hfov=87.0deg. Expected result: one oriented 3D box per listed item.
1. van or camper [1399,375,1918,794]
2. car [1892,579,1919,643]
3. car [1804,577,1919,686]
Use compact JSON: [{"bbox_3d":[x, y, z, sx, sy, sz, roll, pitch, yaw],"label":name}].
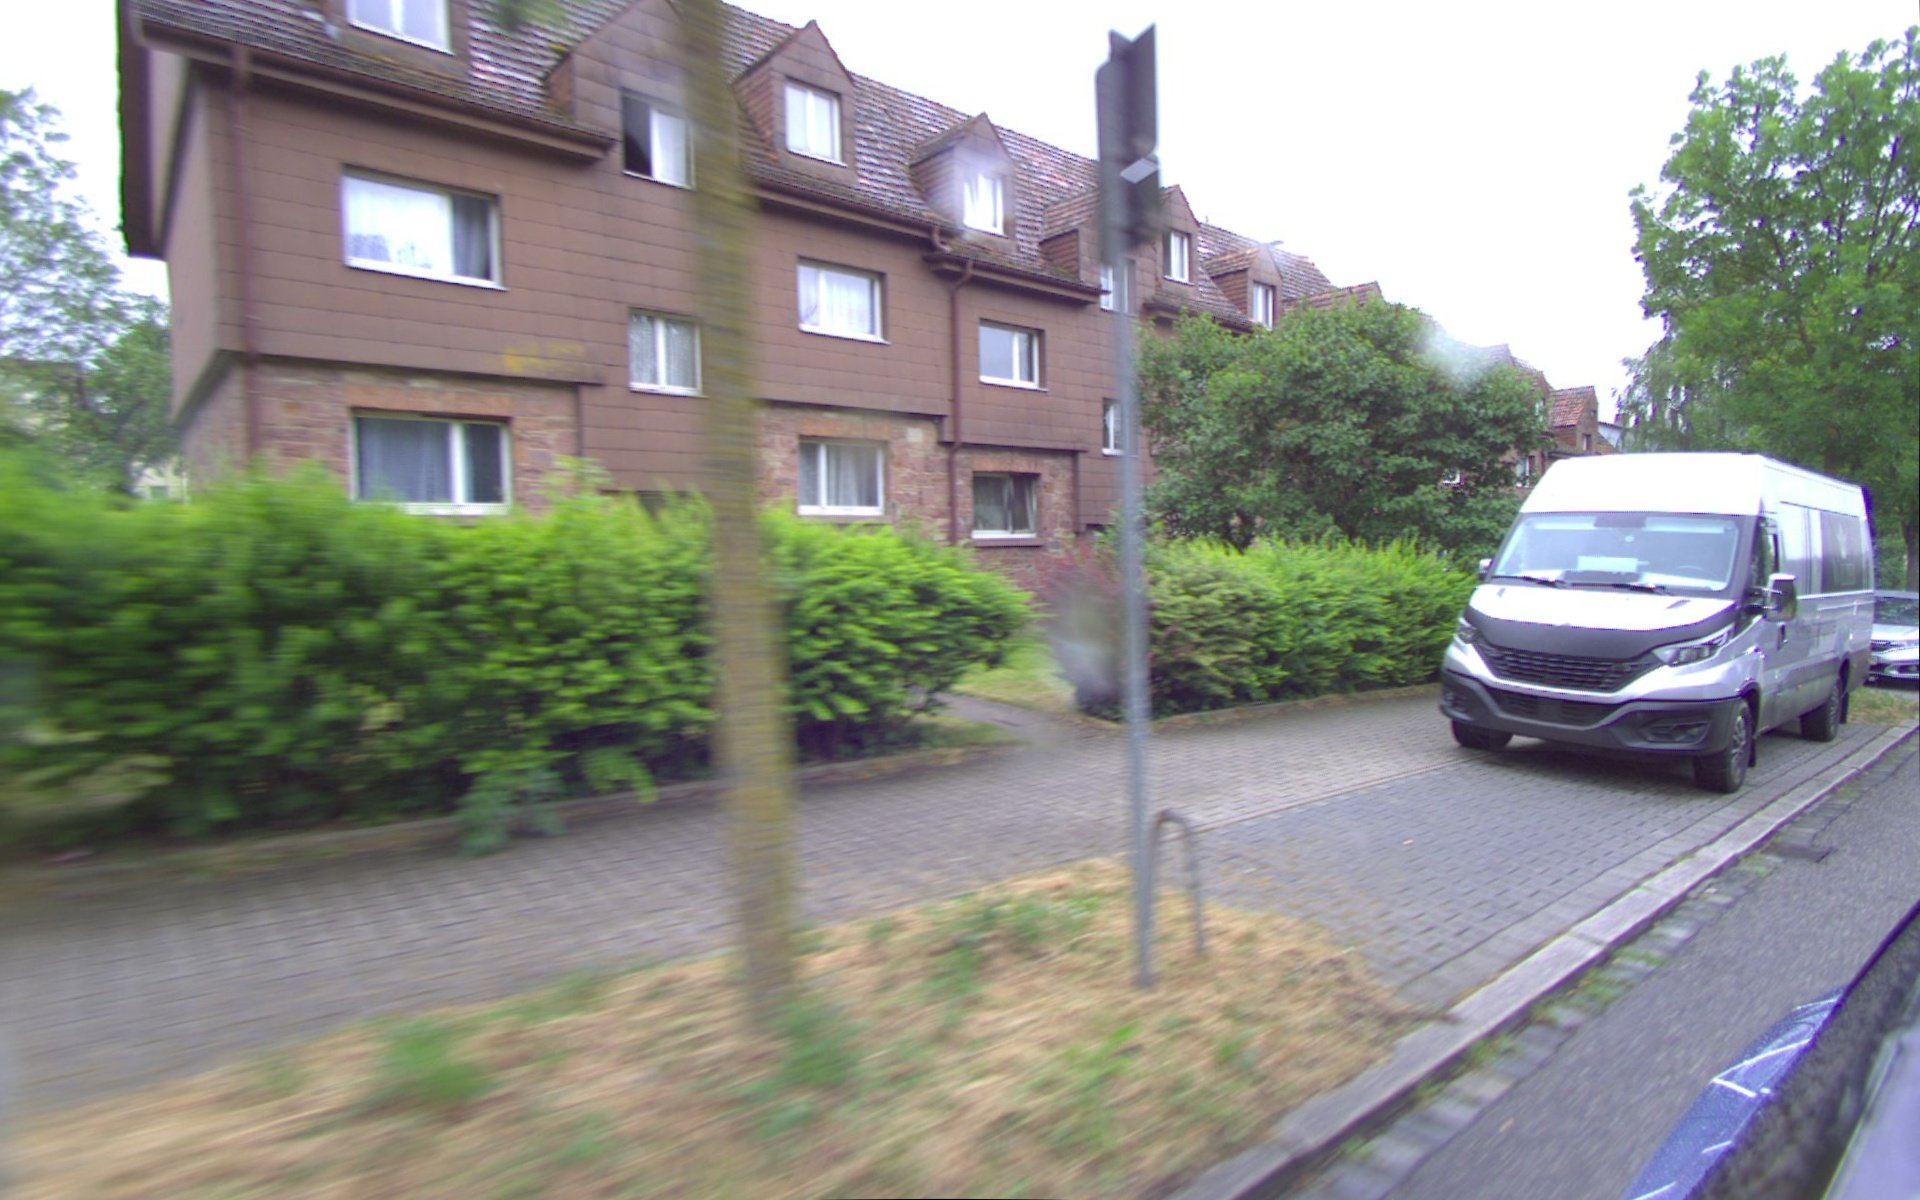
[{"bbox_3d":[7.042,-0.162,9.668,7.172,2.683,2.203,0,3,-41],"label":"van or camper"},{"bbox_3d":[26.643,0.327,27.042,4.391,1.622,1.830,0,3,-38],"label":"car"},{"bbox_3d":[15.620,0.462,16.799,3.762,1.546,1.674,0,5,-39],"label":"car"}]
